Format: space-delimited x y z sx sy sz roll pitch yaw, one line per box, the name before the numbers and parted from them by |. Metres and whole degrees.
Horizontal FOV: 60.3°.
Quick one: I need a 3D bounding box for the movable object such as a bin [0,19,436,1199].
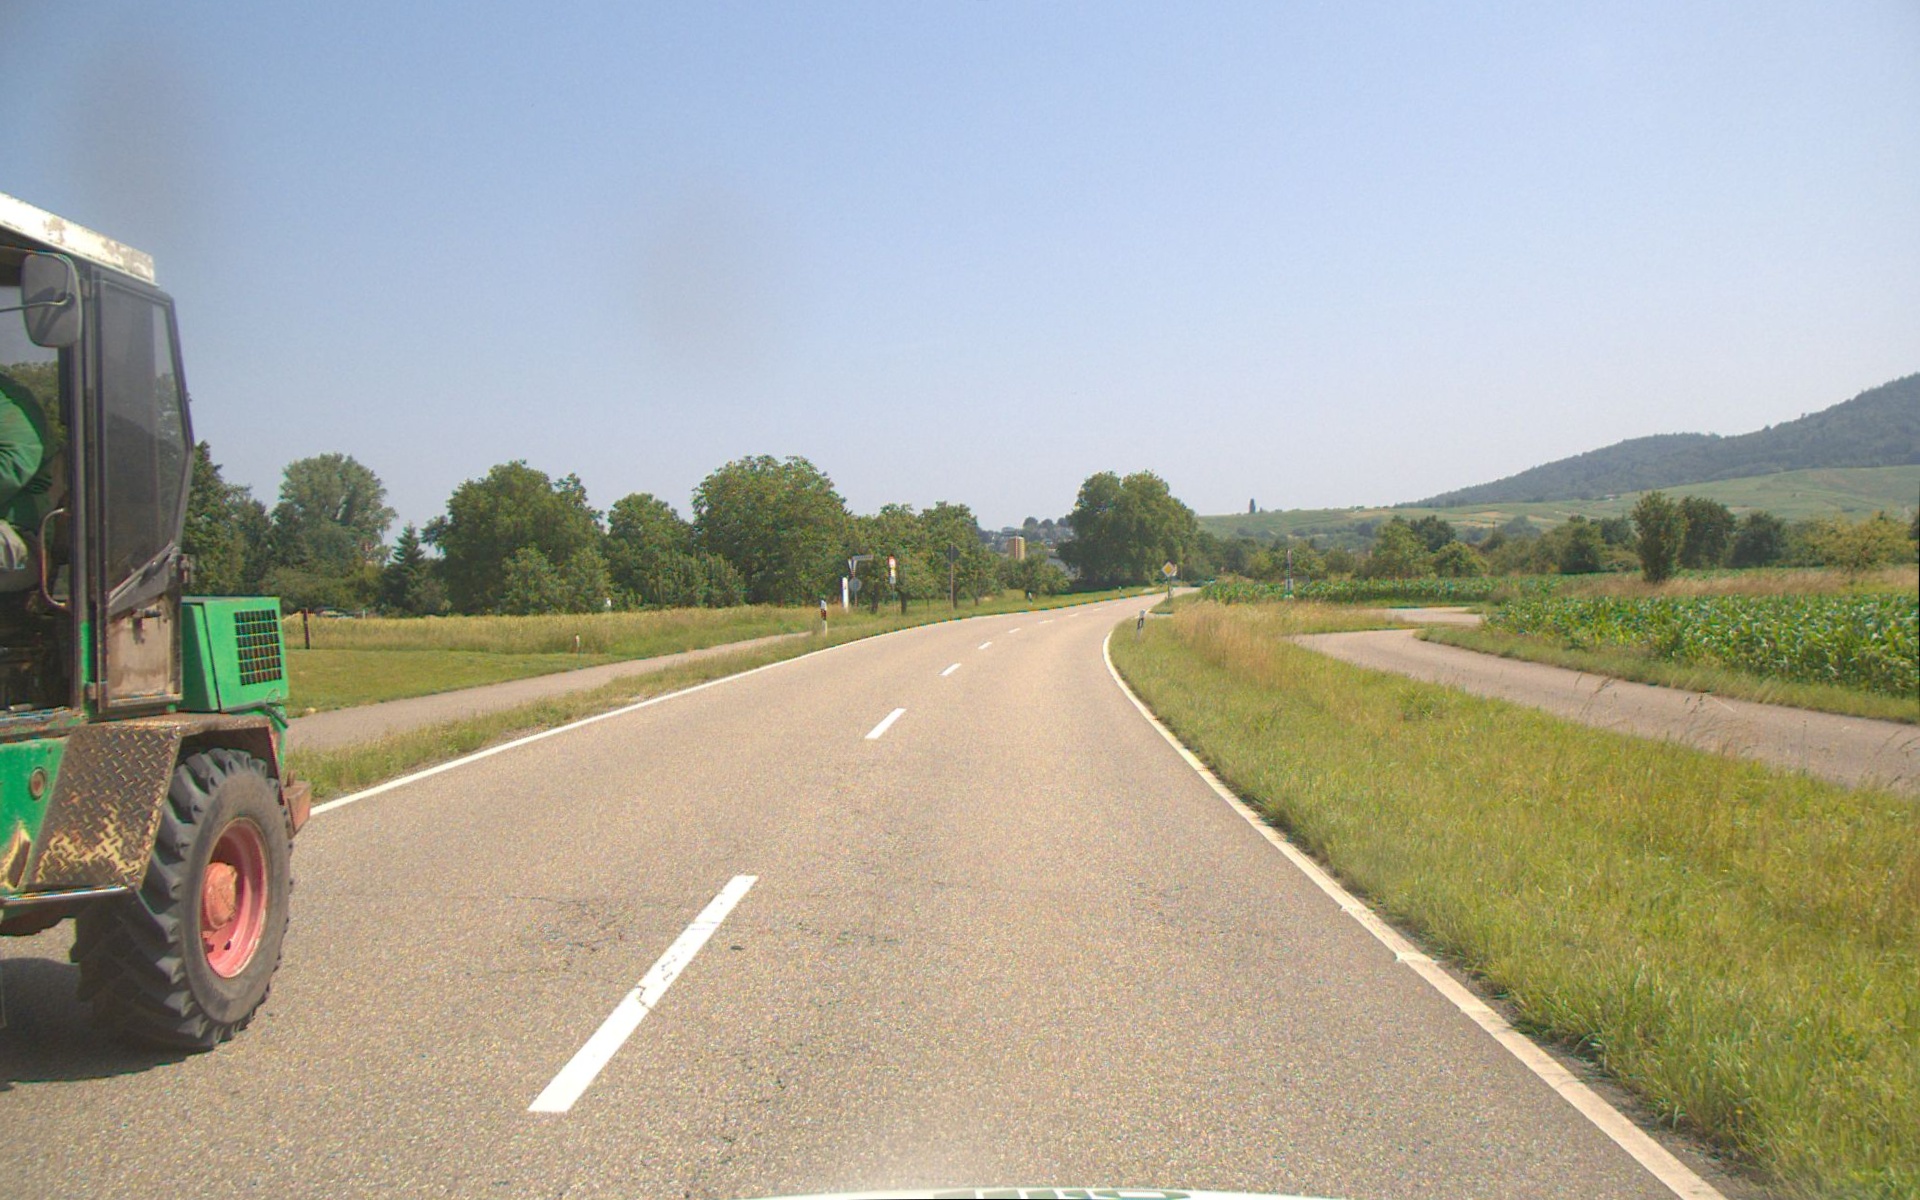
movable object such as a bin | -3.226 0.032 4.249 1.959 2.803 5.231 1 0 1
